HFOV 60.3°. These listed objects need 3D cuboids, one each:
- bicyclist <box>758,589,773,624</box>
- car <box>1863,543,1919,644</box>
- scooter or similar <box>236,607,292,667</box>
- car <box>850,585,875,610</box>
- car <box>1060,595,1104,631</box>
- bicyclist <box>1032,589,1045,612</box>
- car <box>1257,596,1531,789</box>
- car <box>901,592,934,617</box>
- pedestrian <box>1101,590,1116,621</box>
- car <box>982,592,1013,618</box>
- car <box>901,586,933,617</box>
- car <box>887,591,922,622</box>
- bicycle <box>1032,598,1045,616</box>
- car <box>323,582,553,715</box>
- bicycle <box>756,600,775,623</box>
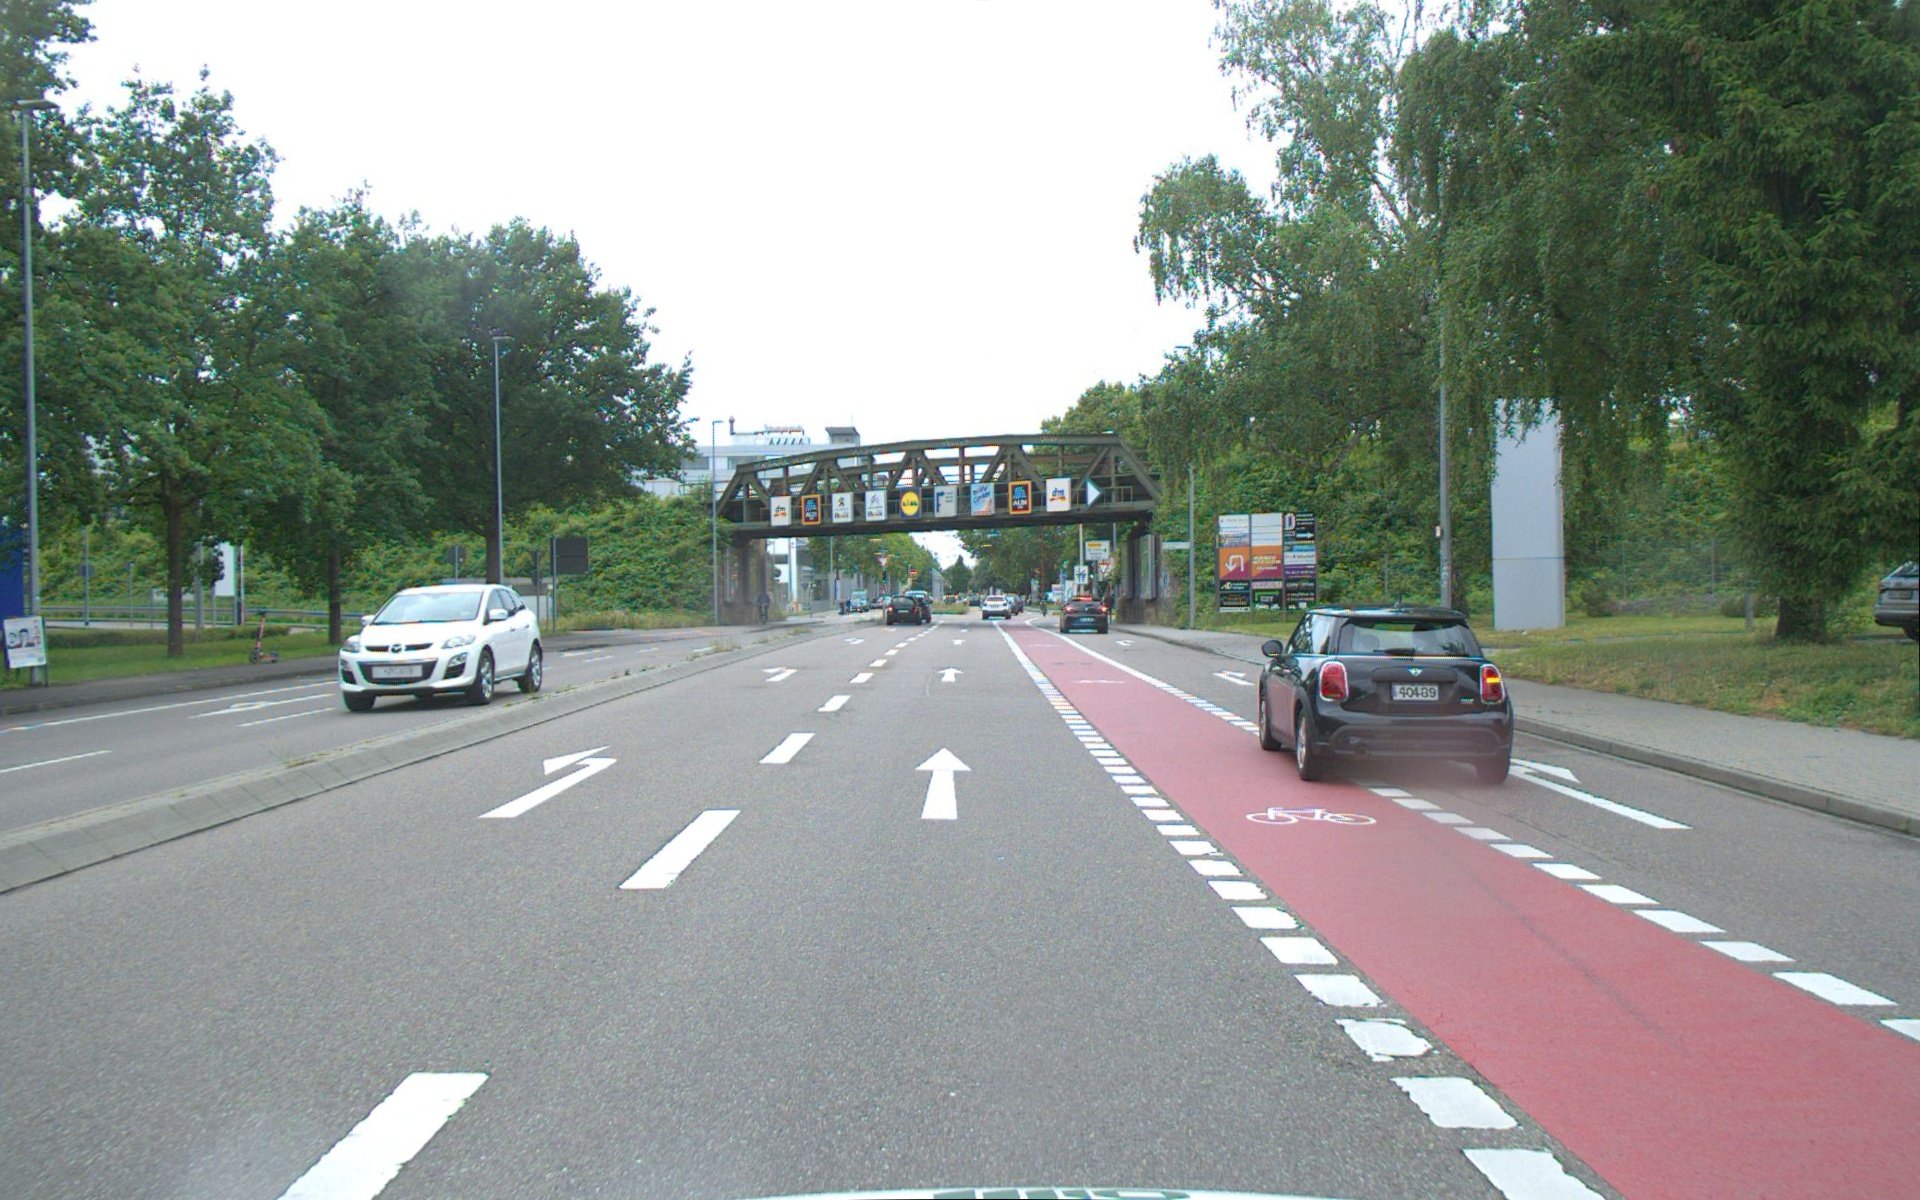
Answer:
[{"bbox_3d":[-10.681,0.375,90.954,0.687,1.907,1.020,1,-1,0],"label":"bicyclist"},{"bbox_3d":[16.395,-0.110,25.409,4.214,1.515,1.738,0,0,-6],"label":"car"},{"bbox_3d":[-16.210,0.853,38.560,0.437,1.344,1.507,-1,0,10],"label":"scooter or similar"},{"bbox_3d":[-11.744,-0.309,199.428,2.280,2.875,5.951,-1,0,3],"label":"car"},{"bbox_3d":[4.655,0.480,63.576,1.613,1.303,3.421,0,0,3],"label":"car"},{"bbox_3d":[5.630,0.023,118.981,0.800,1.658,1.235,-1,0,0],"label":"bicyclist"},{"bbox_3d":[3.680,0.704,14.630,1.644,1.456,3.776,0,0,4],"label":"car"},{"bbox_3d":[-2.688,0.256,103.990,1.923,1.554,5.007,0,0,-3],"label":"car"},{"bbox_3d":[8.002,0.280,89.104,0.726,1.669,0.779,-1,0,7],"label":"pedestrian"},{"bbox_3d":[2.465,0.319,108.931,1.787,1.628,3.774,0,0,-3],"label":"car"},{"bbox_3d":[-2.436,0.060,93.304,1.737,1.681,3.667,0,0,-3],"label":"car"},{"bbox_3d":[-2.870,0.315,85.462,1.733,1.554,3.667,0,0,-3],"label":"car"},{"bbox_3d":[5.645,0.519,118.914,0.800,1.234,2.683,-1,0,0],"label":"bicycle"},{"bbox_3d":[-7.236,0.594,23.432,1.781,1.614,4.513,-3,1,0],"label":"car"},{"bbox_3d":[-10.687,0.633,90.939,0.698,1.207,2.370,1,0,0],"label":"bicycle"}]
